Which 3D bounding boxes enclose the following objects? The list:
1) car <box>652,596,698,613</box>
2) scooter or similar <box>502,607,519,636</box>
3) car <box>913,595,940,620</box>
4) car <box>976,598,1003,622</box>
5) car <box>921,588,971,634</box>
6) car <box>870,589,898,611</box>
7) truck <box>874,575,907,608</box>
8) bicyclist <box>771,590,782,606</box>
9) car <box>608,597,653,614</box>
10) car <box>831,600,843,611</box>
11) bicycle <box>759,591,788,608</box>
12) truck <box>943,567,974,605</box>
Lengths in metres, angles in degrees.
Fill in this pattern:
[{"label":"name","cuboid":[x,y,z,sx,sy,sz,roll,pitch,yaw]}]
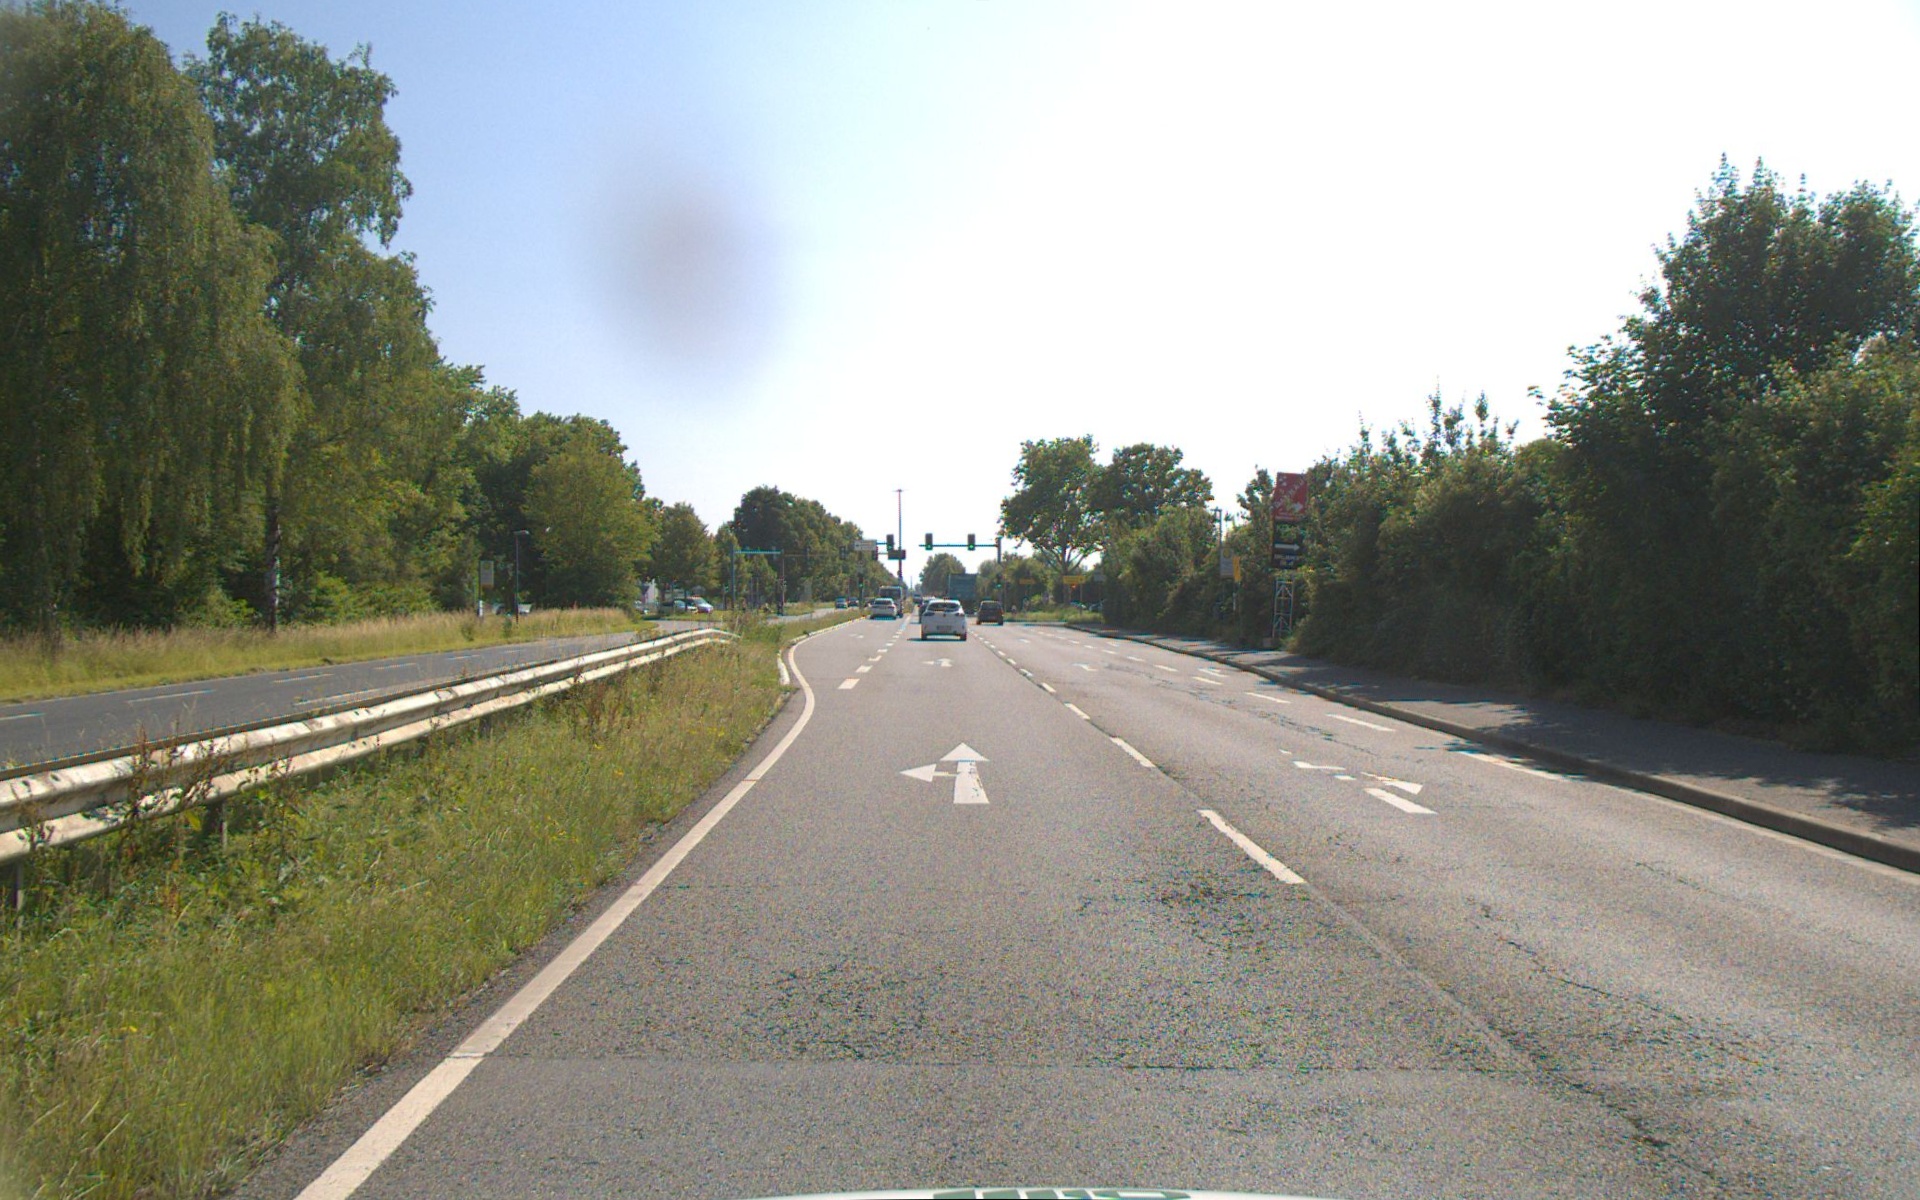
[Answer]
[{"label":"car","cuboid":[-27.786,0.435,161.092,4.180,1.634,1.999,-1,0,34]},{"label":"scooter or similar","cuboid":[-19.599,0.936,72.103,0.360,1.206,1.340,-2,0,-1]},{"label":"car","cuboid":[-1.990,0.434,99.012,1.540,1.439,3.277,2,0,-1]},{"label":"car","cuboid":[1.795,0.644,101.836,1.540,1.439,3.276,0,-1,-1]},{"label":"car","cuboid":[-0.526,0.375,61.309,1.762,1.580,4.000,1,1,-1]},{"label":"car","cuboid":[-5.413,-0.005,118.065,1.775,1.490,4.970,1,0,0]},{"label":"truck","cuboid":[-5.351,-0.693,128.224,2.325,2.430,6.040,1,1,-1]},{"label":"bicyclist","cuboid":[-18.702,-0.231,168.375,0.845,1.647,0.757,0,-1,26]},{"label":"car","cuboid":[-32.727,0.535,164.297,4.180,1.634,1.999,-1,0,34]},{"label":"car","cuboid":[-17.113,0.815,230.237,1.456,1.439,3.761,-3,0,-1]},{"label":"bicycle","cuboid":[-19.042,-0.031,168.632,2.737,1.699,1.135,-1,0,26]},{"label":"truck","cuboid":[-0.211,-1.364,160.402,2.833,3.488,9.167,-1,0,-1]}]
